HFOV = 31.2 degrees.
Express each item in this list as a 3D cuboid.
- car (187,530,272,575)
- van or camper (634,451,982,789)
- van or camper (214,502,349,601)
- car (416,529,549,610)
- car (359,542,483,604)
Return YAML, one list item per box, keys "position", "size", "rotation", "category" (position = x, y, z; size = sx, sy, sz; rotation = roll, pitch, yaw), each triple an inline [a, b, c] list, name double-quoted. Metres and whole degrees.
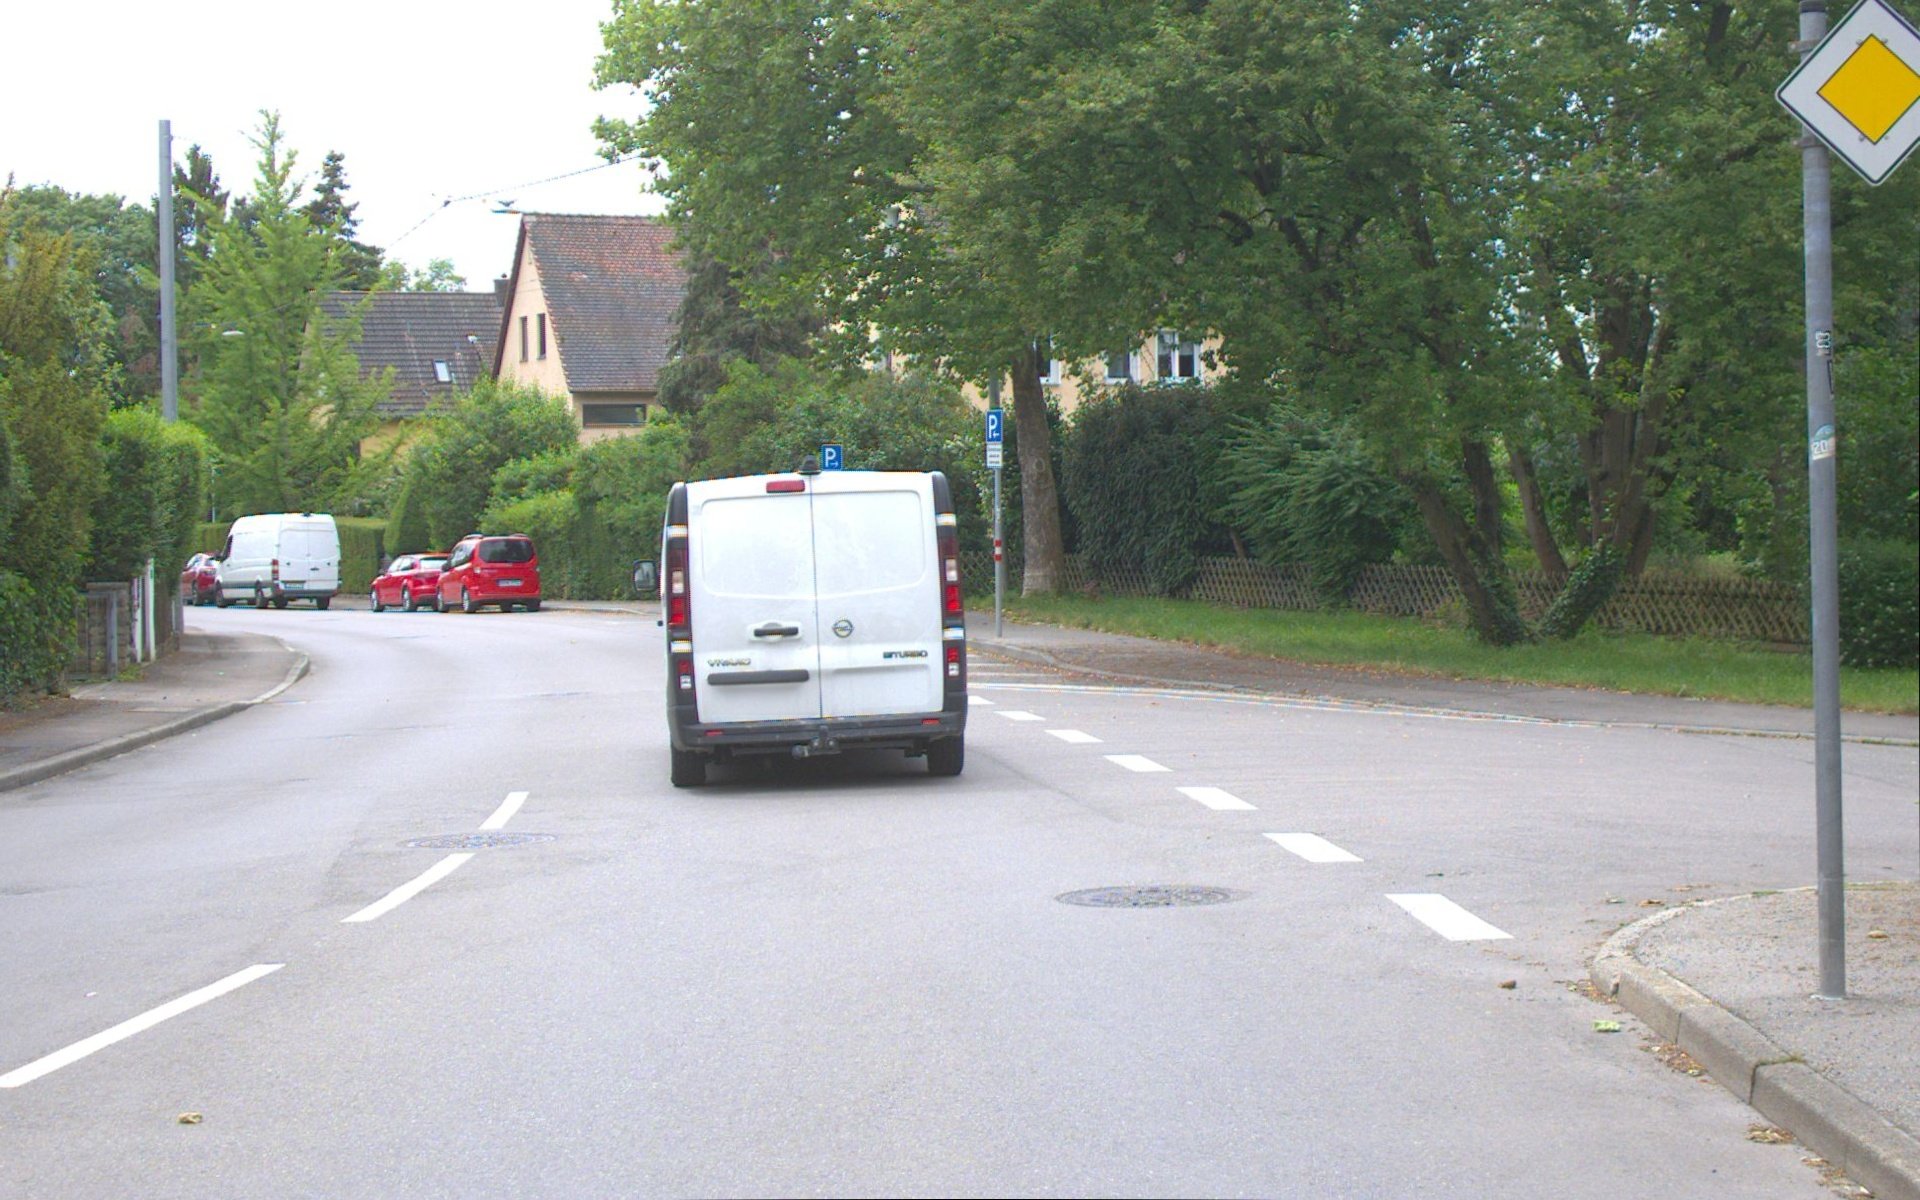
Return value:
- position: [-21.897, -1.431, 102.951]
  size: [1.530, 1.300, 4.032]
  rotation: [-1, 1, -26]
  category: "car"
- position: [-1.131, 0.019, 22.994]
  size: [1.923, 2.006, 4.831]
  rotation: [0, 2, -7]
  category: "van or camper"
- position: [-19.099, -1.376, 96.509]
  size: [2.066, 2.665, 6.329]
  rotation: [-2, 2, -27]
  category: "van or camper"
- position: [-11.029, -0.716, 79.188]
  size: [1.760, 1.791, 4.950]
  rotation: [-1, 1, -23]
  category: "car"
- position: [-13.172, -0.678, 83.889]
  size: [1.712, 1.462, 4.269]
  rotation: [-1, 1, -27]
  category: "car"
